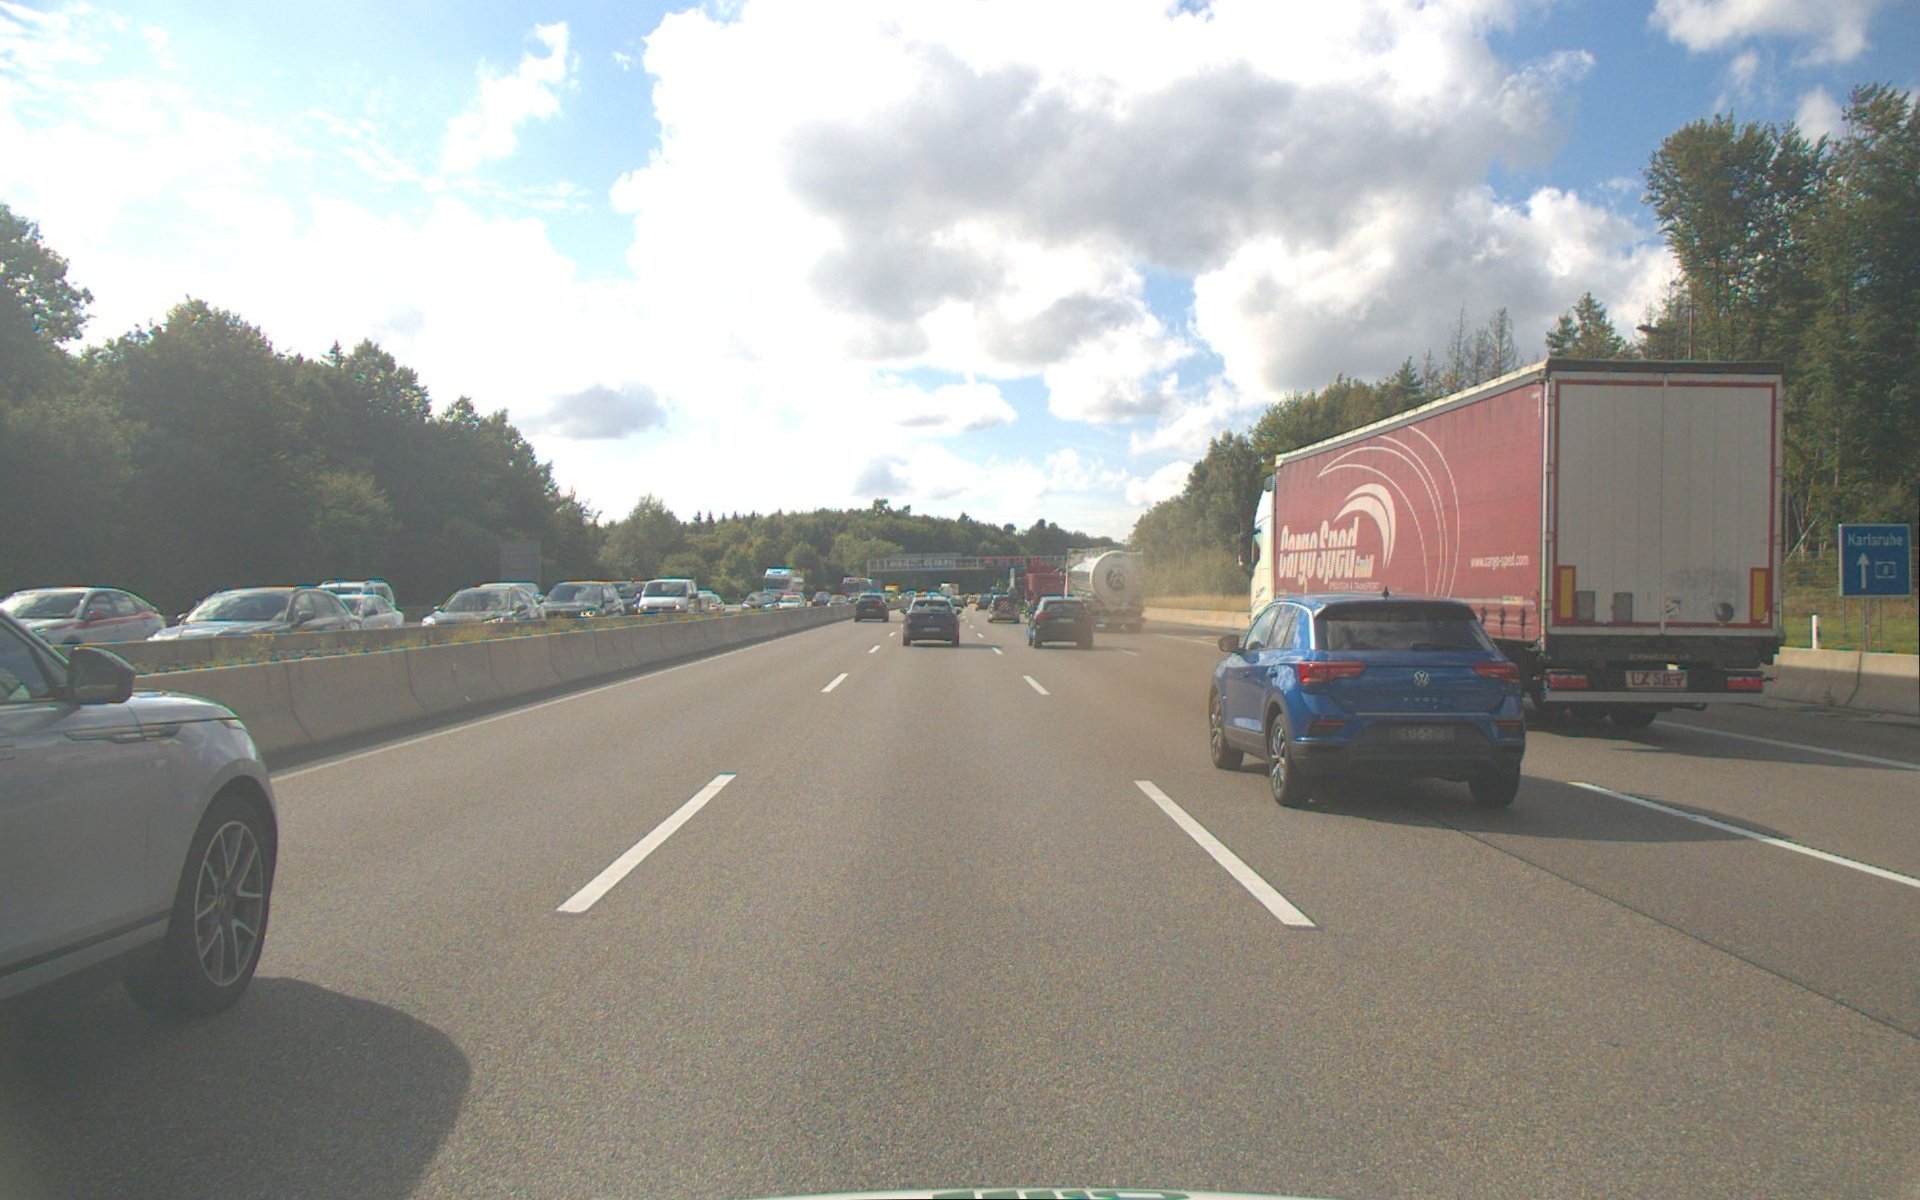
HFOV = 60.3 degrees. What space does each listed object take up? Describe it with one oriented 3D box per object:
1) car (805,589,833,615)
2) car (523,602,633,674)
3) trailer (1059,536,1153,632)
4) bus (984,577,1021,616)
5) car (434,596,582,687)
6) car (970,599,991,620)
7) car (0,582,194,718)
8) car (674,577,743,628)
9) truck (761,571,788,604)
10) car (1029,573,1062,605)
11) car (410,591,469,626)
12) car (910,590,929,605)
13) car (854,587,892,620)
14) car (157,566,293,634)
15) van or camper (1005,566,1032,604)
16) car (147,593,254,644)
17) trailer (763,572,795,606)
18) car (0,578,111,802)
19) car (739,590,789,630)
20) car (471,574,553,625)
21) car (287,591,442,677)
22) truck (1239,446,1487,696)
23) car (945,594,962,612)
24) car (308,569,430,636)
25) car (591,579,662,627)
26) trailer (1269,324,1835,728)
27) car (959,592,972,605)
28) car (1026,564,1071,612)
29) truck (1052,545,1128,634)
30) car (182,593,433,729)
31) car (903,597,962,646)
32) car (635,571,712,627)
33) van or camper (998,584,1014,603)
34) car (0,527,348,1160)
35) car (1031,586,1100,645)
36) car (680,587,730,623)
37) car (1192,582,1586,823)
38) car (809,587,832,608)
[{"bbox_3d":[-12.148,0.183,142.712,1.952,2.049,3.999,1,-2,0],"label":"car"},{"bbox_3d":[-10.786,1.095,47.051,1.952,1.897,4.550,1,-2,1],"label":"car"},{"bbox_3d":[6.580,-0.566,76.335,2.974,4.086,12.240,0,-1,-1],"label":"trailer"},{"bbox_3d":[2.435,-0.186,94.729,1.953,2.049,3.999,1,-2,-1],"label":"bus"},{"bbox_3d":[-10.049,0.939,37.141,1.952,1.897,4.550,1,-2,1],"label":"car"},{"bbox_3d":[2.077,0.977,167.354,1.953,2.049,3.998,1,-1,-2],"label":"car"},{"bbox_3d":[-13.891,0.753,25.453,1.952,1.897,4.550,1,-2,1],"label":"car"},{"bbox_3d":[-10.089,0.146,66.639,1.952,1.897,4.550,1,-2,1],"label":"car"},{"bbox_3d":[-18.189,-1.182,162.054,2.237,3.077,2.698,1,-2,0],"label":"truck"},{"bbox_3d":[5.855,-0.728,113.829,1.953,2.049,3.998,1,-2,-1],"label":"car"},{"bbox_3d":[-30.565,0.534,97.253,1.952,1.897,4.550,1,-2,1],"label":"car"},{"bbox_3d":[-4.911,-0.293,200.599,2.111,1.807,3.999,1,-1,-1],"label":"car"},{"bbox_3d":[-4.926,0.196,93.678,1.953,1.807,4.000,-1,0,-1],"label":"car"},{"bbox_3d":[-22.079,0.056,49.894,1.952,1.897,4.550,1,-2,1],"label":"car"},{"bbox_3d":[5.323,-1.331,150.764,2.303,3.199,5.710,1,-2,0],"label":"van or camper"},{"bbox_3d":[-29.502,0.753,64.388,1.952,1.897,4.550,1,-2,1],"label":"car"},{"bbox_3d":[-18.170,-1.060,166.353,2.237,3.077,7.604,1,-2,0],"label":"trailer"},{"bbox_3d":[-9.118,0.733,13.449,1.952,1.897,4.550,1,-2,1],"label":"car"},{"bbox_3d":[-10.157,0.547,86.050,1.952,1.897,4.550,1,-2,1],"label":"car"},{"bbox_3d":[-18.031,0.021,66.769,1.952,1.897,4.550,1,-2,1],"label":"car"},{"bbox_3d":[-14.166,0.830,39.639,1.952,1.897,4.550,1,-2,1],"label":"car"},{"bbox_3d":[7.281,-0.402,30.783,3.018,4.135,6.067,1,-2,-1],"label":"truck"},{"bbox_3d":[-0.792,0.412,197.921,1.953,2.049,3.998,-1,-2,-1],"label":"car"},{"bbox_3d":[-17.978,0.118,50.562,1.952,1.897,4.550,1,-2,1],"label":"car"},{"bbox_3d":[-14.021,0.164,69.763,1.952,1.897,4.550,1,-2,1],"label":"car"},{"bbox_3d":[7.395,-0.568,23.936,2.976,4.106,13.885,1,-2,-1],"label":"trailer"},{"bbox_3d":[0.728,-0.203,221.256,1.641,1.620,3.628,-1,0,0],"label":"car"},{"bbox_3d":[6.015,-0.773,113.558,2.808,3.044,5.148,1,-2,0],"label":"car"},{"bbox_3d":[6.408,-0.457,82.303,2.984,4.233,7.123,0,-1,-2],"label":"truck"},{"bbox_3d":[-9.948,0.925,25.665,1.952,1.897,4.550,1,-2,1],"label":"car"},{"bbox_3d":[-0.879,0.669,50.624,1.699,1.389,3.998,1,-1,-2],"label":"car"},{"bbox_3d":[-10.619,-0.004,61.604,1.952,1.897,4.550,1,-2,1],"label":"car"},{"bbox_3d":[6.447,-0.932,233.992,2.041,2.536,4.224,-1,0,-1],"label":"van or camper"},{"bbox_3d":[-3.403,0.620,4.219,1.861,1.635,5.104,1,-1,-1],"label":"car"},{"bbox_3d":[3.156,0.476,49.940,1.762,1.673,3.999,1,-1,-1],"label":"car"},{"bbox_3d":[-14.059,0.254,91.417,1.952,1.897,4.551,-1,0,1],"label":"car"},{"bbox_3d":[3.225,0.698,13.477,1.885,1.568,4.644,2,0,-1],"label":"car"},{"bbox_3d":[-14.172,-0.255,167.983,1.952,2.049,4.000,-1,0,0],"label":"car"}]
